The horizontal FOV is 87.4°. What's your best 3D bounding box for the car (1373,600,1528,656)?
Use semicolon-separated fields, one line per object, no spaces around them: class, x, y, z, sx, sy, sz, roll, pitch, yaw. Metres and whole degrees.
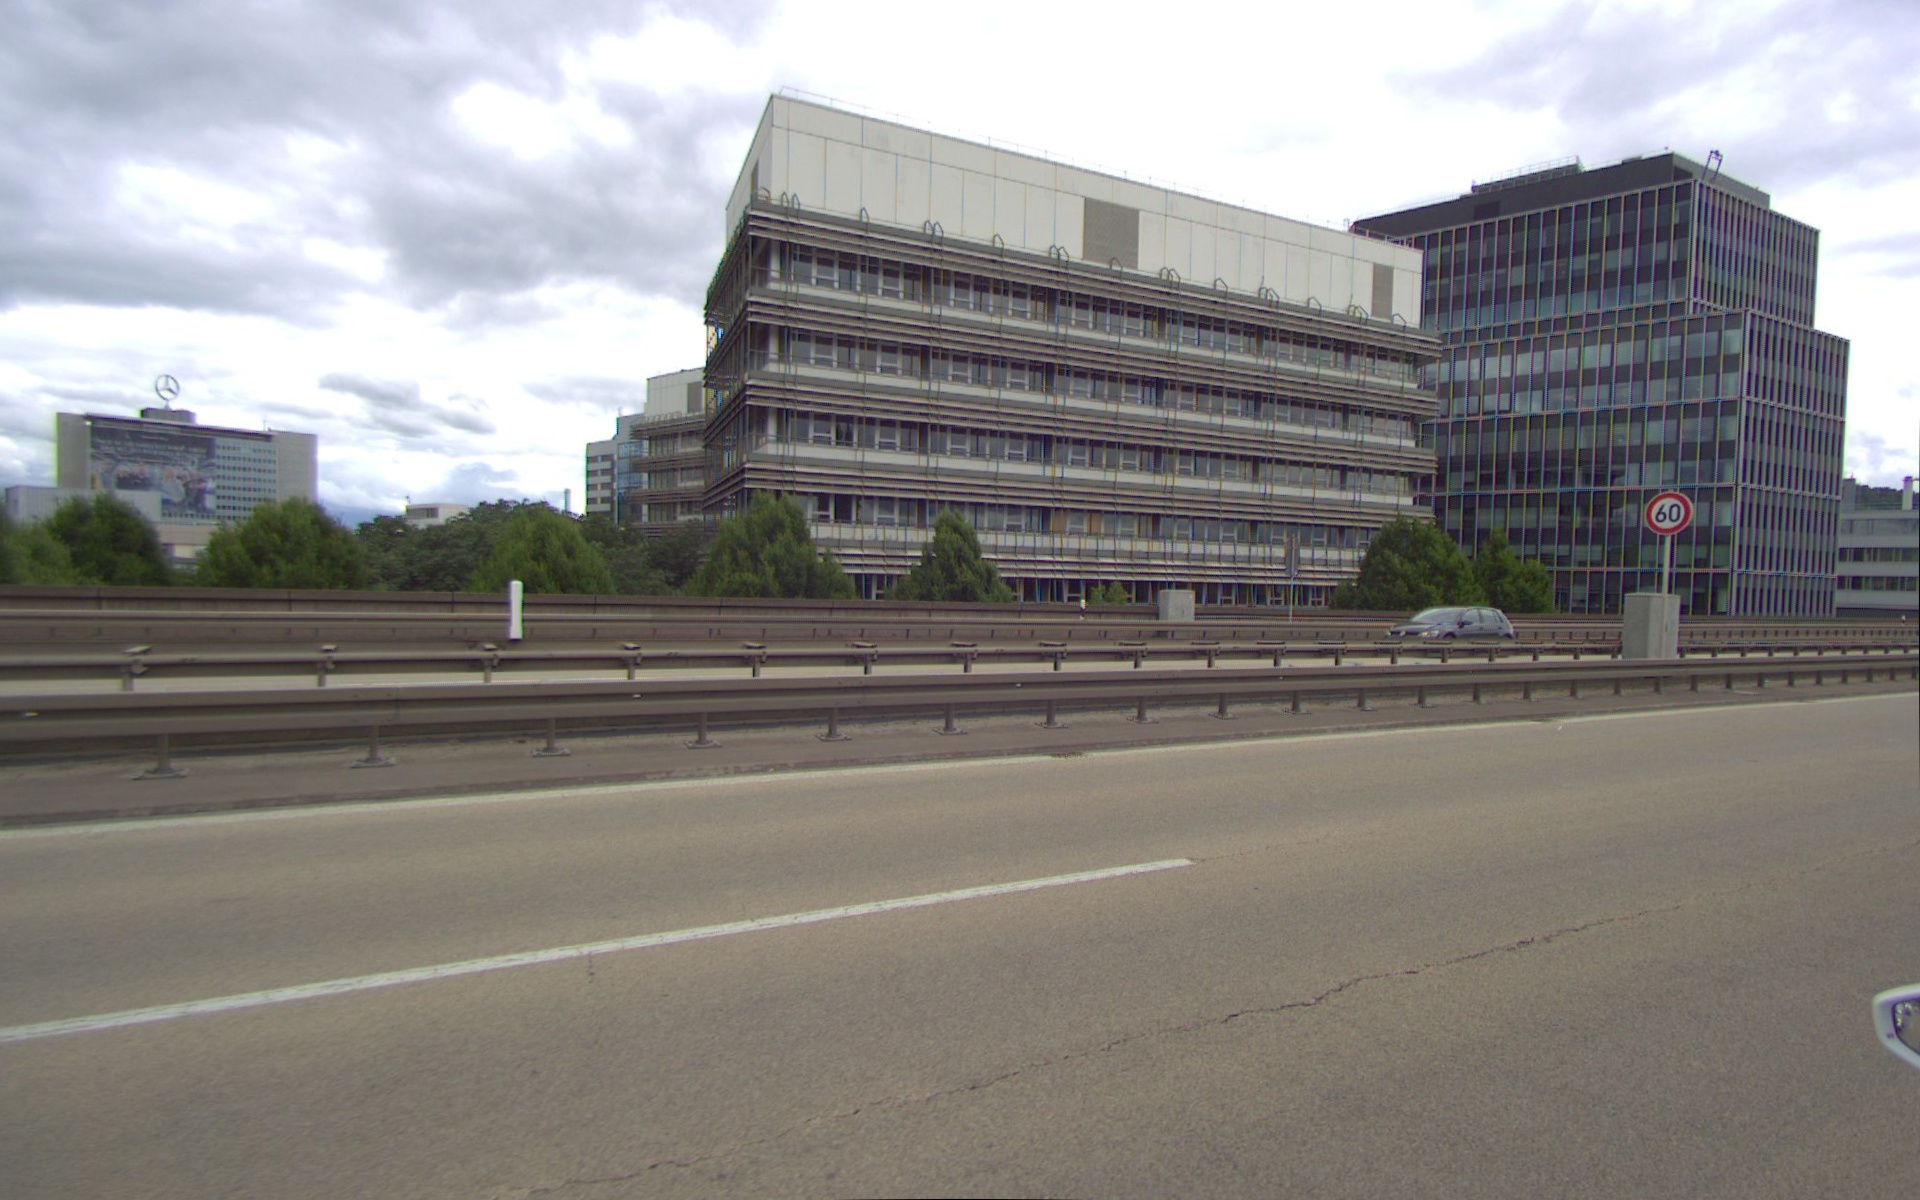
car;13.537;0.772;27.672;4.179;1.395;1.778;2;1;-30
